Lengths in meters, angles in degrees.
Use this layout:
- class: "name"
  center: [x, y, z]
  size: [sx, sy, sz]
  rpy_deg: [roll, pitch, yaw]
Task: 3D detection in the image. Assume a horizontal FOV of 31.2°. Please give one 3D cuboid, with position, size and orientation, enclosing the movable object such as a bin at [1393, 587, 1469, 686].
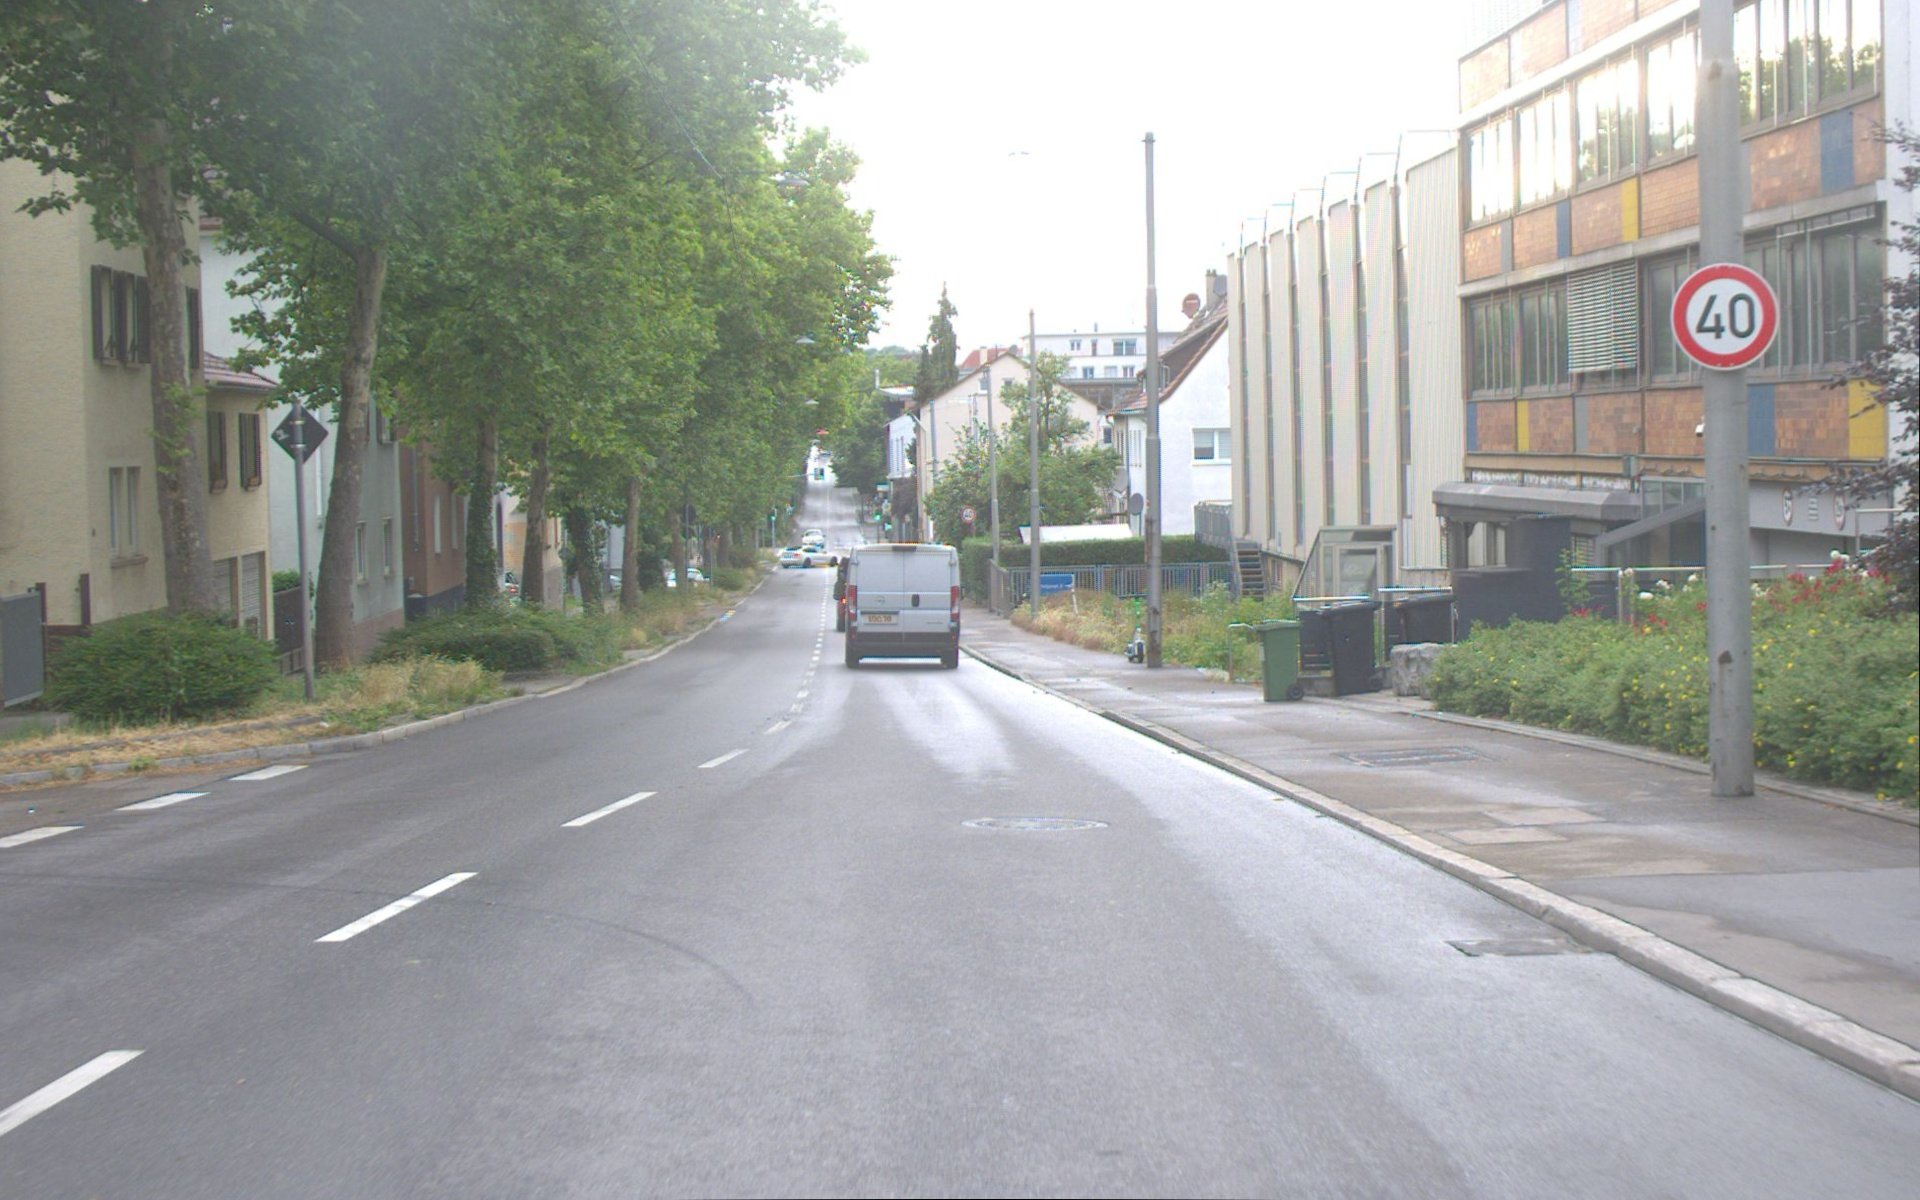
- class: "movable object such as a bin"
  center: [5.449, 0.417, 39.809]
  size: [0.695, 1.078, 0.778]
  rpy_deg: [-4, 1, 0]

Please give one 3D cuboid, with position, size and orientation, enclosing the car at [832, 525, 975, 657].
- class: "car"
  center: [-1.090, -0.214, 63.257]
  size: [2.346, 2.153, 4.778]
  rpy_deg: [-2, 2, -3]

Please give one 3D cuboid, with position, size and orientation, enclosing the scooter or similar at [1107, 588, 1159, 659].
- class: "scooter or similar"
  center: [2.940, 0.390, 58.456]
  size: [0.605, 1.158, 1.700]
  rpy_deg: [-1, 0, -6]

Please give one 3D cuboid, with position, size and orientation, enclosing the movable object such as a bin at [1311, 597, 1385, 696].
- class: "movable object such as a bin"
  center: [4.477, 0.529, 39.739]
  size: [0.695, 1.078, 0.778]
  rpy_deg: [-4, 1, 0]

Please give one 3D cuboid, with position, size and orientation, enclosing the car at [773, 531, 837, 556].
- class: "car"
  center: [-9.995, -3.627, 221.799]
  size: [1.998, 1.571, 3.991]
  rpy_deg: [0, 1, 37]

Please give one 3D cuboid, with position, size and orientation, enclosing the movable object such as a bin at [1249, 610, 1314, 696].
- class: "movable object such as a bin"
  center: [3.697, 0.609, 39.567]
  size: [0.619, 0.933, 0.686]
  rpy_deg: [-4, 1, 0]

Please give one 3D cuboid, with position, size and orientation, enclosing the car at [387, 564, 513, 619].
- class: "car"
  center: [-18.091, -0.311, 122.006]
  size: [4.196, 1.885, 2.000]
  rpy_deg: [-1, 1, -2]
